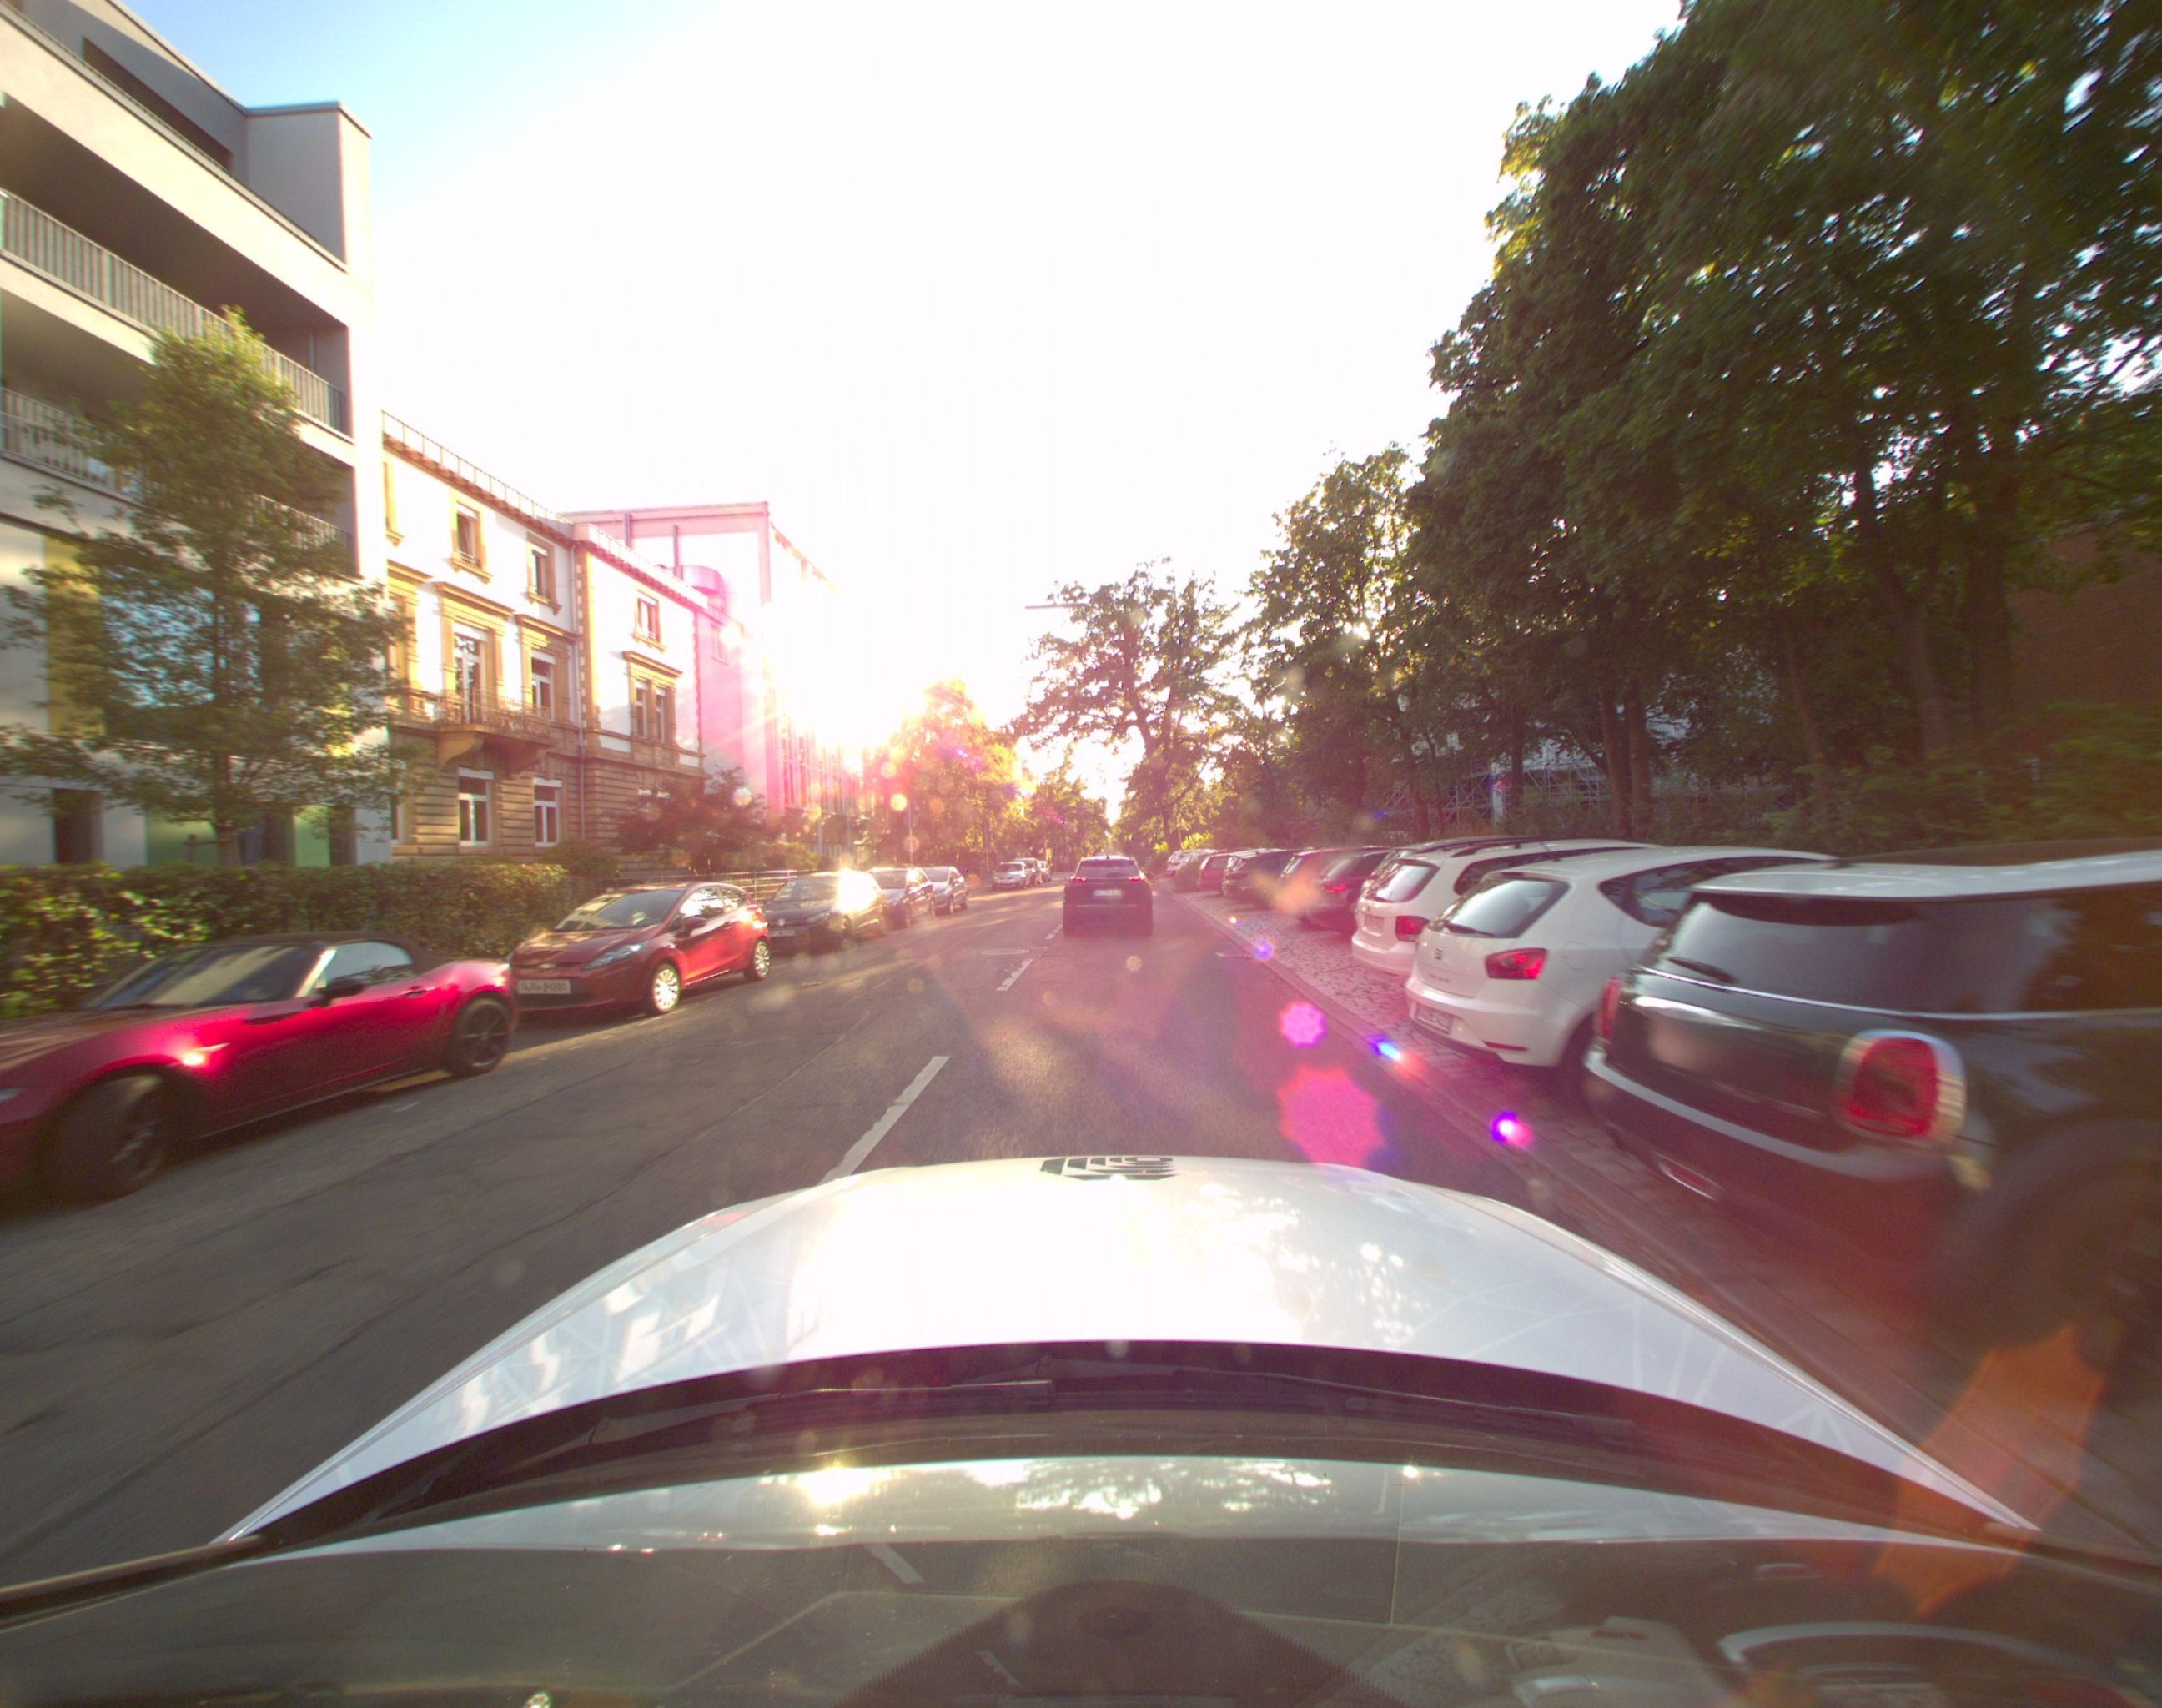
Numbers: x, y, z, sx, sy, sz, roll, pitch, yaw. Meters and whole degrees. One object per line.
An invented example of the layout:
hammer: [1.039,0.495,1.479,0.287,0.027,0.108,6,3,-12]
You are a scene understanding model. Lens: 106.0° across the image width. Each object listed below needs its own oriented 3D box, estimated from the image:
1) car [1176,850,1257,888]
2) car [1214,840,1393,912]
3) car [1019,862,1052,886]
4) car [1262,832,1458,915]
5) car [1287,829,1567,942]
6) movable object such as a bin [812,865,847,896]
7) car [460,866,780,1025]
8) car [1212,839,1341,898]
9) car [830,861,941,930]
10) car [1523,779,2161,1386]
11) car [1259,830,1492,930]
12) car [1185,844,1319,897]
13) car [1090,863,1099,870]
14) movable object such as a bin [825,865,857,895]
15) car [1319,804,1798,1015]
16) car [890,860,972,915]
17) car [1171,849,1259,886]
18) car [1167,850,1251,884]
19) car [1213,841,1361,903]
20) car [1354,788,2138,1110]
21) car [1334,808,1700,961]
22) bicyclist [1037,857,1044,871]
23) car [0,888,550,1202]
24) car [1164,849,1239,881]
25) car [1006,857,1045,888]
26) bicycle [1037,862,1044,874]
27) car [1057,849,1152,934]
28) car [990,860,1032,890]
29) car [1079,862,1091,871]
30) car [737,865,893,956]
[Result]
car: [6.562,0.723,39.657,3.575,1.566,1.819,-4,-2,1]
car: [5.671,0.560,21.173,4.102,1.475,1.834,-5,-1,3]
car: [-3.054,1.348,55.362,1.672,1.457,3.885,-3,0,3]
car: [6.258,0.444,18.624,3.792,1.475,1.833,-5,-2,2]
car: [5.482,0.506,13.286,3.734,1.395,1.758,-5,-2,2]
movable object such as a bin: [-12.269,1.273,39.737,1.093,1.430,1.488,-2,-1,6]
car: [-5.343,0.942,10.098,1.592,1.455,3.863,-4,0,2]
car: [6.349,0.473,26.667,3.702,1.555,1.741,-5,-1,-2]
car: [-4.936,0.997,21.061,1.591,1.507,3.792,-3,0,5]
car: [3.950,0.515,3.040,3.598,1.525,1.671,-5,0,0]
car: [5.554,0.495,15.758,3.792,1.475,1.758,-5,-2,2]
car: [5.977,0.576,28.834,4.319,1.475,1.743,-5,0,3]
car: [2.848,2.656,172.323,1.805,1.354,3.977,-2,-1,-1]
movable object such as a bin: [-12.122,1.292,41.187,1.093,1.430,1.374,-2,-1,6]
car: [4.495,0.497,8.109,3.654,1.552,1.735,-5,0,0]
car: [-4.607,0.997,25.574,1.594,1.494,3.775,-3,0,3]
car: [6.075,0.620,37.258,3.732,1.594,1.697,-1,-1,0]
car: [6.574,0.655,42.104,4.106,1.667,1.724,-1,-1,2]
car: [5.994,0.527,24.111,3.907,1.454,1.834,-5,-1,3]
car: [3.953,0.527,5.360,3.654,1.444,1.735,-5,0,0]
car: [5.474,0.389,10.655,3.710,1.498,1.821,-5,-2,2]
bicyclist: [-4.705,1.202,94.507,0.674,1.603,0.705,-1,-1,-5]
car: [-5.626,0.986,5.413,1.550,1.280,3.735,-3,0,3]
car: [6.893,0.605,46.875,4.148,1.710,1.870,-1,-1,6]
car: [-3.299,1.081,48.972,1.672,1.708,4.344,-3,0,3]
bicycle: [-4.685,1.616,94.402,0.685,1.249,2.188,-1,-1,-5]
car: [0.487,0.712,16.926,1.762,1.568,3.381,0,0,1]
car: [-3.699,1.111,43.570,1.664,1.494,4.064,-2,-1,3]
car: [0.652,2.045,132.271,1.806,1.354,3.996,-2,-1,-2]
car: [-5.108,1.006,16.240,1.592,1.455,4.056,-3,0,2]
